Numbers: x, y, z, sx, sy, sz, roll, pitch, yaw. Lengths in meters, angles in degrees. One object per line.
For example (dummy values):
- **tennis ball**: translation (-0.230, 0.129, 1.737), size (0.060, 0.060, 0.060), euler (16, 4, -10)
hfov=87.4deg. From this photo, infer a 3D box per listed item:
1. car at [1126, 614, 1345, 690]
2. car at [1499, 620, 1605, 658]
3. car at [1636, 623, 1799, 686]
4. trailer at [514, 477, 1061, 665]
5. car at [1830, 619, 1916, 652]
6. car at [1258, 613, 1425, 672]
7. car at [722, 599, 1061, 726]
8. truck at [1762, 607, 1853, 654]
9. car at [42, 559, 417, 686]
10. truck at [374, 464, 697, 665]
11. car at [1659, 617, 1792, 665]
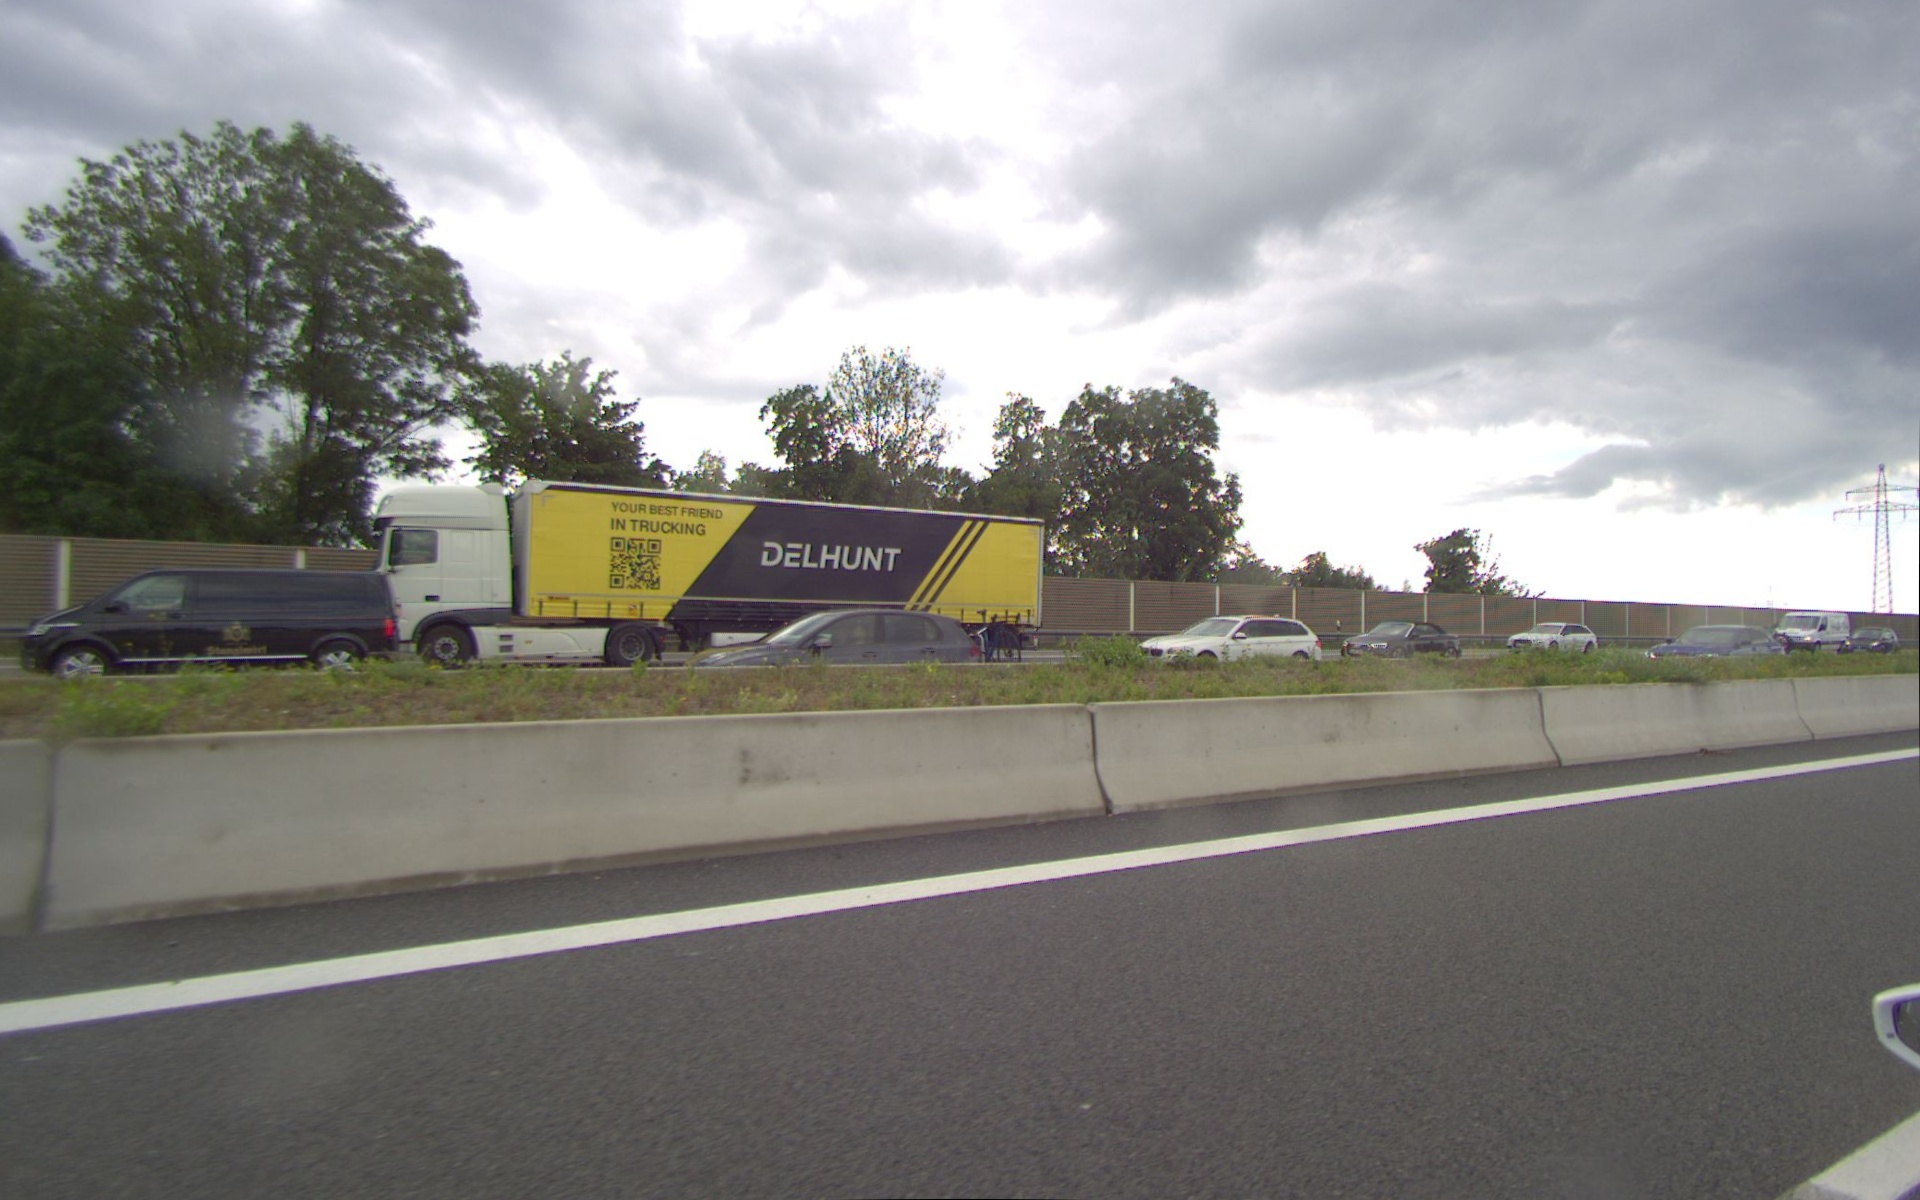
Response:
- **car**: translation (6.413, 1.165, 23.197), size (5.179, 1.557, 1.757), euler (2, 0, -31)
- **car**: translation (26.007, 1.716, 44.082), size (5.100, 1.516, 1.757), euler (2, 0, -31)
- **car**: translation (20.903, 1.477, 27.669), size (5.100, 1.557, 1.757), euler (2, 0, -31)
- **trailer**: translation (-3.864, -0.449, 26.075), size (13.885, 4.016, 2.665), euler (2, 0, -30)
- **car**: translation (46.051, 1.782, 50.630), size (5.100, 1.557, 1.757), euler (2, 0, -31)
- **car**: translation (11.267, 1.239, 29.553), size (5.100, 1.557, 1.757), euler (2, 0, -31)
- **car**: translation (-0.909, 0.838, 14.375), size (4.530, 1.557, 1.757), euler (2, 0, -30)
- **truck**: translation (47.660, 1.725, 56.484), size (5.729, 2.449, 2.106), euler (2, 0, -31)
- **car**: translation (-12.223, 0.396, 17.301), size (4.980, 1.920, 1.757), euler (2, 0, -30)
- **truck**: translation (-9.538, -0.633, 22.813), size (6.366, 4.016, 2.665), euler (2, 0, -30)
- **car**: translation (27.312, 1.449, 35.769), size (5.647, 1.569, 1.757), euler (2, 0, -31)
